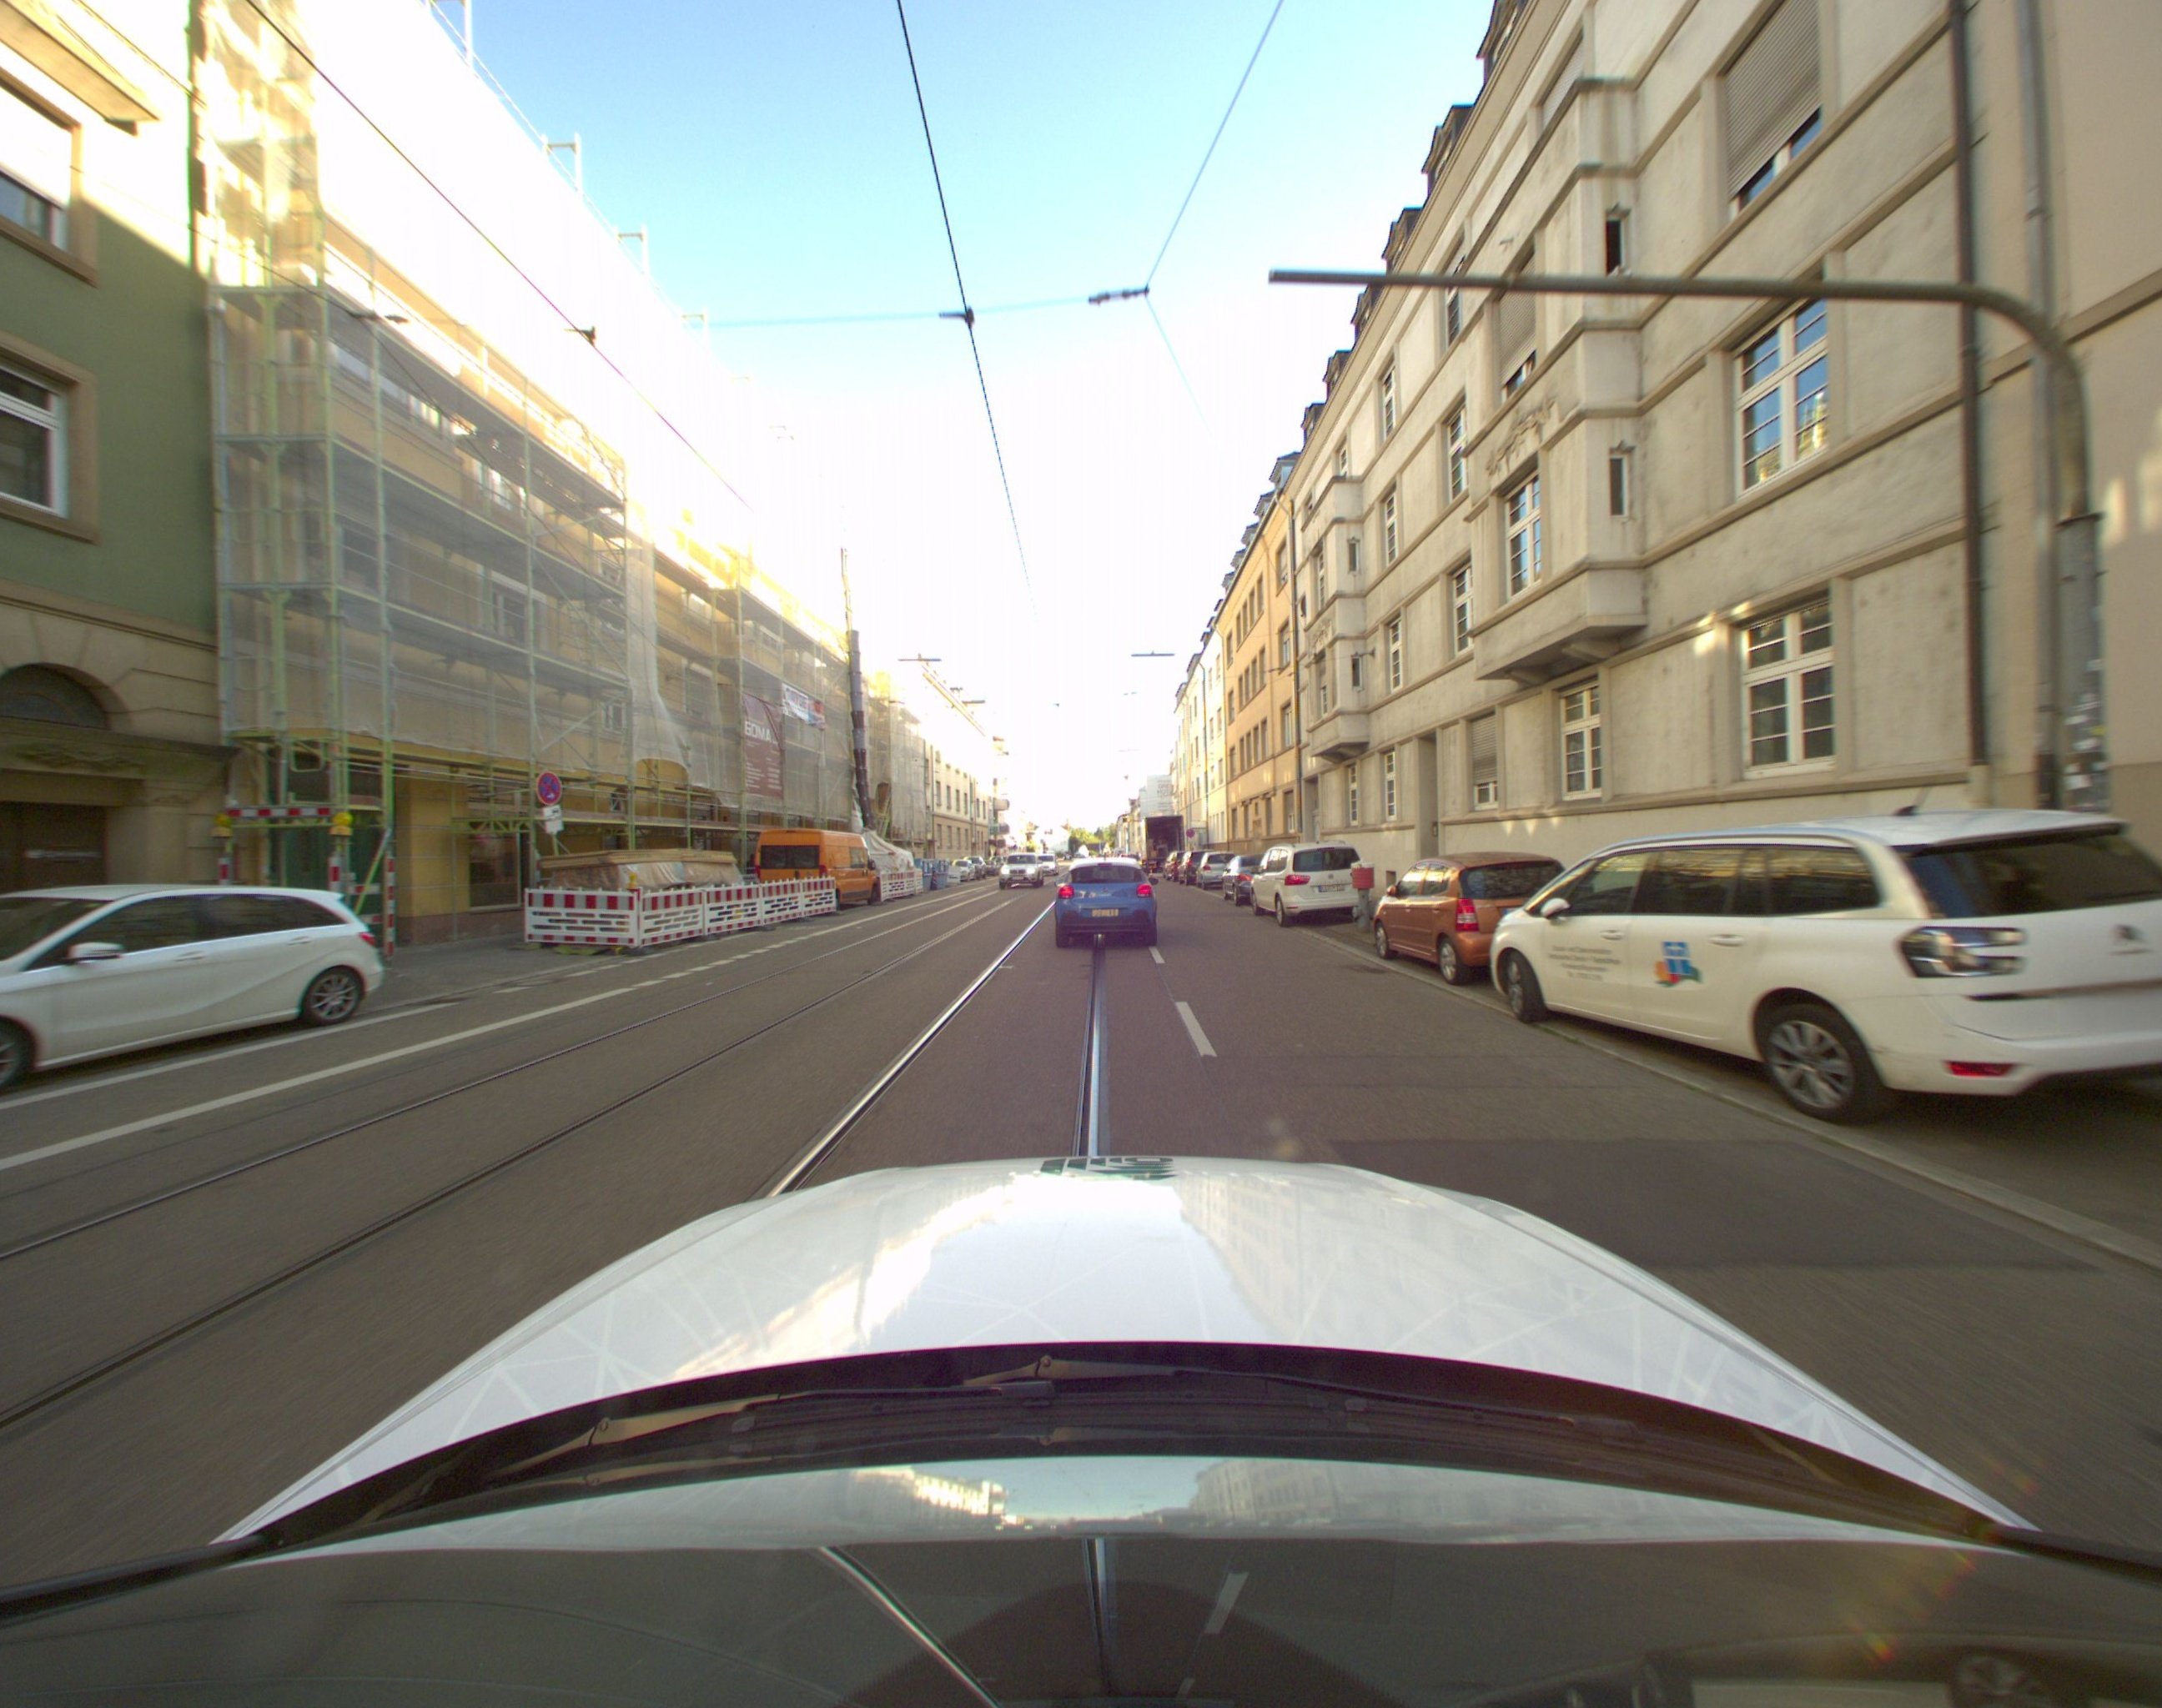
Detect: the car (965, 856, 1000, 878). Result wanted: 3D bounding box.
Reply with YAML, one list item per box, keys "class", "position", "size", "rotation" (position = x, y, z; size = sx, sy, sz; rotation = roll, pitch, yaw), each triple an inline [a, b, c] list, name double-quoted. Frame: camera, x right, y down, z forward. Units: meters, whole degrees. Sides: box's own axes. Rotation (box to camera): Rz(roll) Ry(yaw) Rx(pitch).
- class: "car"
  position: [-7.869, 1.021, 65.449]
  size: [2.137, 1.621, 4.001]
  rotation: [-2, 0, 1]

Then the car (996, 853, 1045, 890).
- class: "car"
  position: [-2.856, 0.798, 39.354]
  size: [1.819, 1.632, 4.492]
  rotation: [-1, 0, 2]

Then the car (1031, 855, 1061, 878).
- class: "car"
  position: [-2.564, 0.898, 60.650]
  size: [1.894, 1.632, 4.269]
  rotation: [-1, 0, 2]

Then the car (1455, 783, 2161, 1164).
- class: "car"
  position: [4.798, 0.551, 6.133]
  size: [1.651, 1.752, 4.598]
  rotation: [-1, 0, -3]

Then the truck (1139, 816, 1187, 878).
- class: "truck"
  position: [5.927, -0.446, 60.491]
  size: [2.841, 4.083, 11.279]
  rotation: [-1, 0, 3]

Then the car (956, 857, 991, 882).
- class: "car"
  position: [-7.500, 1.058, 57.213]
  size: [1.708, 1.594, 4.269]
  rotation: [-1, 0, 2]

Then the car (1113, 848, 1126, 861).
- class: "car"
  position: [7.233, 0.140, 152.912]
  size: [2.211, 2.284, 4.085]
  rotation: [-1, 0, 2]

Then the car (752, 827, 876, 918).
- class: "car"
  position: [-7.996, 0.500, 24.997]
  size: [2.138, 2.475, 4.979]
  rotation: [-1, 0, 0]

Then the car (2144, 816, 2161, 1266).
- class: "car"
  position: [4.490, 0.629, 0.664]
  size: [1.648, 1.566, 4.340]
  rotation: [-1, 0, 2]

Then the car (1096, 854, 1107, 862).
- class: "car"
  position: [3.941, 0.709, 155.213]
  size: [2.172, 1.487, 4.161]
  rotation: [-1, 0, 2]

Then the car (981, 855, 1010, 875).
- class: "car"
  position: [-7.409, 0.924, 71.218]
  size: [1.819, 1.632, 4.851]
  rotation: [-1, 0, 2]

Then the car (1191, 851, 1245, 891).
- class: "car"
  position: [5.618, 0.672, 33.911]
  size: [1.657, 1.519, 4.224]
  rotation: [-1, 0, 2]

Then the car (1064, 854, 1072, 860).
- class: "car"
  position: [-3.344, 0.816, 203.218]
  size: [1.758, 1.487, 4.033]
  rotation: [-1, 0, 2]

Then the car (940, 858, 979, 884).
- class: "car"
  position: [-7.777, 1.069, 52.518]
  size: [1.708, 1.518, 4.049]
  rotation: [-1, 0, 2]

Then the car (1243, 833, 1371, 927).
- class: "car"
  position: [4.977, 0.526, 18.589]
  size: [1.724, 1.827, 4.688]
  rotation: [-1, 0, 2]

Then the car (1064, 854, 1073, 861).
- class: "car"
  position: [-2.643, 0.755, 176.556]
  size: [1.758, 1.487, 4.033]
  rotation: [-1, 0, 2]

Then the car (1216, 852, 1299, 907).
- class: "car"
  position: [5.226, 0.708, 24.638]
  size: [1.716, 1.487, 4.224]
  rotation: [-1, 0, 2]

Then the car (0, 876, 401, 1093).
- class: "car"
  position: [-8.865, 1.026, 7.268]
  size: [1.711, 1.502, 4.391]
  rotation: [1, 0, 3]

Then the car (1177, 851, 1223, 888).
- class: "car"
  position: [5.592, 0.702, 38.758]
  size: [1.657, 1.647, 4.224]
  rotation: [-1, 0, 2]

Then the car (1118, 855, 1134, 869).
- class: "car"
  position: [5.134, 0.909, 93.673]
  size: [1.758, 1.487, 4.033]
  rotation: [-1, 0, 2]

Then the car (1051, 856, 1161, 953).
- class: "car"
  position: [0.470, 0.812, 14.985]
  size: [1.728, 1.507, 3.994]
  rotation: [1, 0, 2]

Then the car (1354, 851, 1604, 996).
- class: "car"
  position: [4.985, 0.773, 10.770]
  size: [1.608, 1.560, 3.602]
  rotation: [-1, 0, 2]

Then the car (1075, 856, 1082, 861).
- class: "car"
  position: [-0.777, 1.452, 251.067]
  size: [1.758, 1.487, 4.033]
  rotation: [-1, 0, 2]

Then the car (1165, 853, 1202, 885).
- class: "car"
  position: [5.572, 0.796, 44.781]
  size: [1.657, 1.633, 3.873]
  rotation: [-1, 0, 2]

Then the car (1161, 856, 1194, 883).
- class: "car"
  position: [5.795, 0.903, 49.258]
  size: [1.657, 1.487, 4.033]
  rotation: [-1, 0, 2]

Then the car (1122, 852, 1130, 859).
- class: "car"
  position: [10.040, 0.303, 181.663]
  size: [1.758, 1.487, 4.033]
  rotation: [-1, 0, 2]
